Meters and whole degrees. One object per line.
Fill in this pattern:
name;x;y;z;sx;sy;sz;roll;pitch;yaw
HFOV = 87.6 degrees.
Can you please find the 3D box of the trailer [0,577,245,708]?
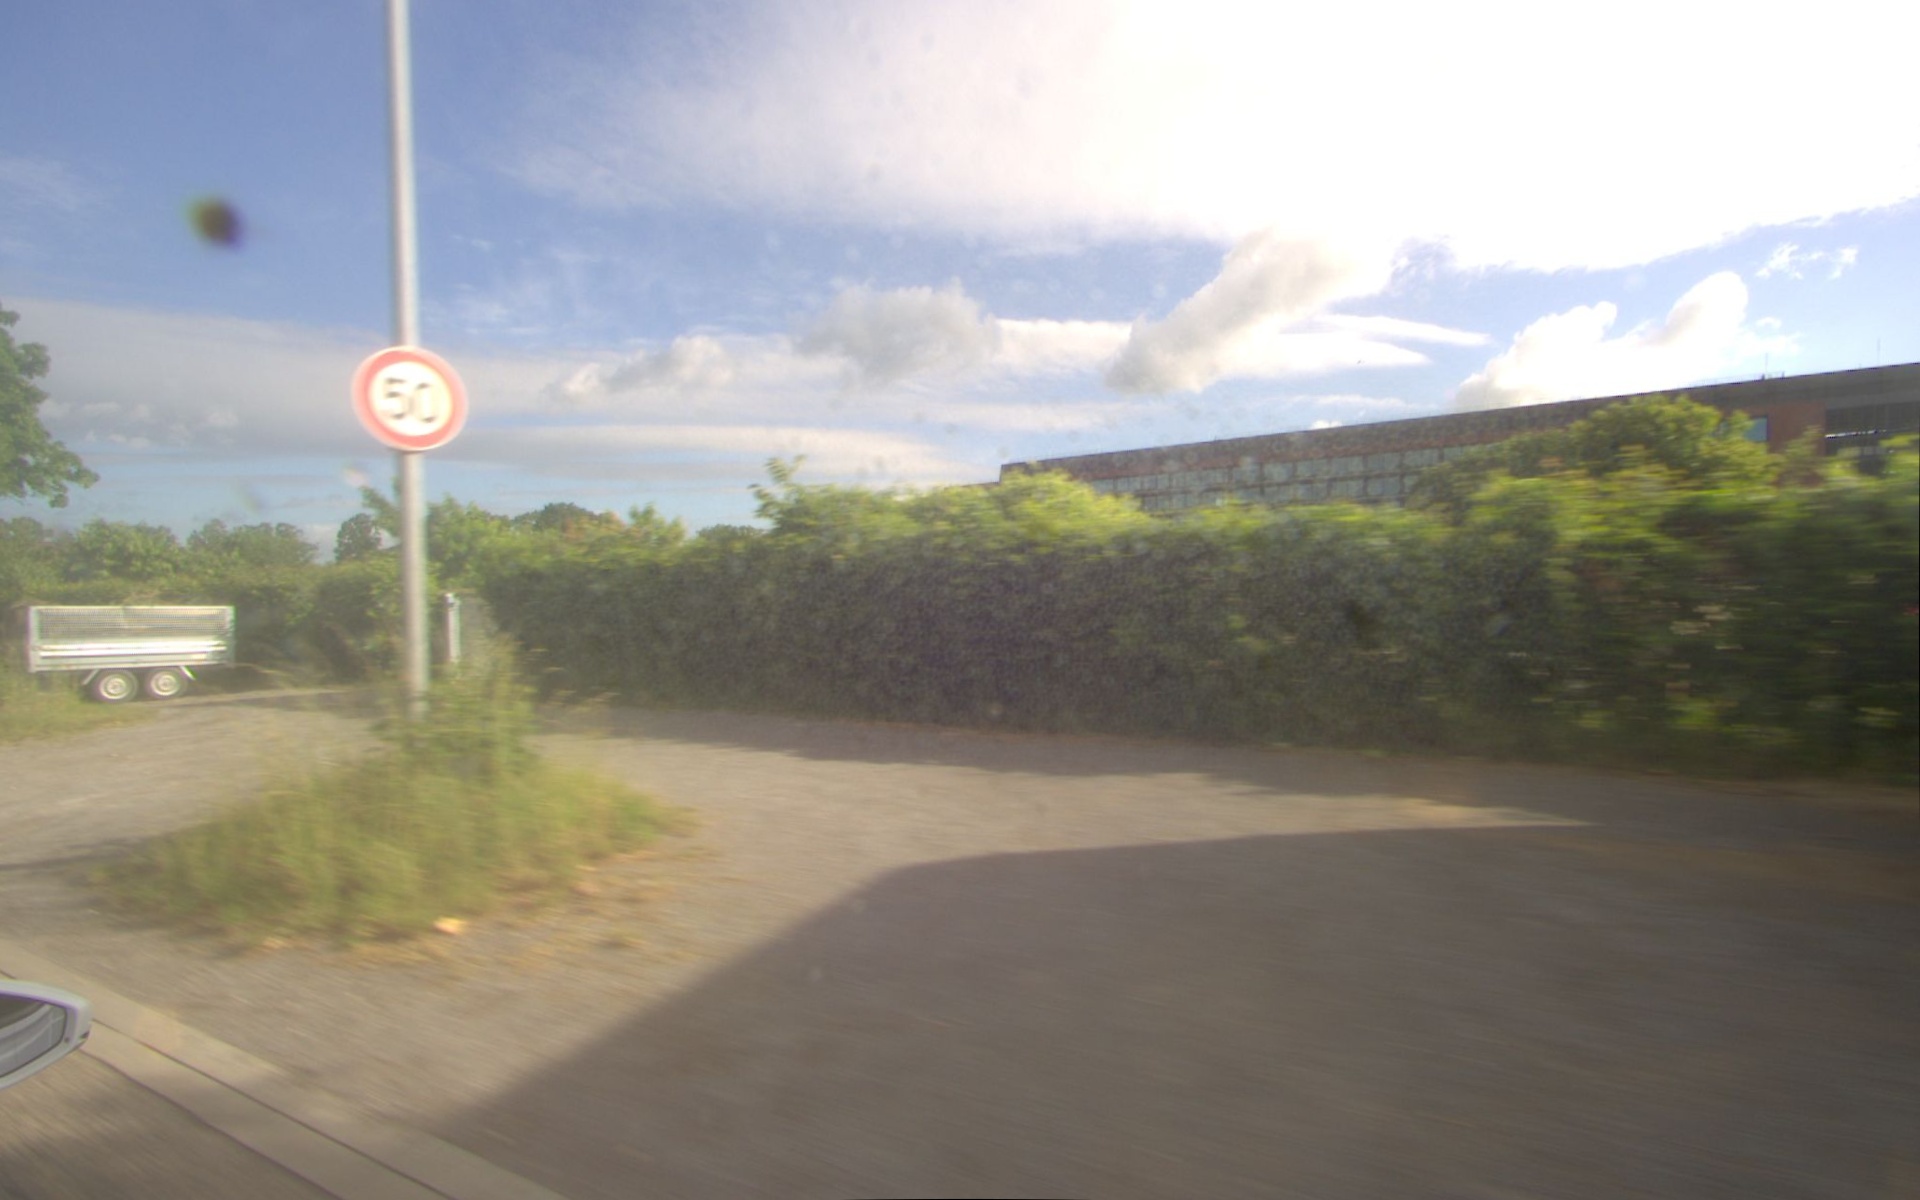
trailer;-13.883;0.602;15.525;1.891;1.859;4.138;-1;1;35
